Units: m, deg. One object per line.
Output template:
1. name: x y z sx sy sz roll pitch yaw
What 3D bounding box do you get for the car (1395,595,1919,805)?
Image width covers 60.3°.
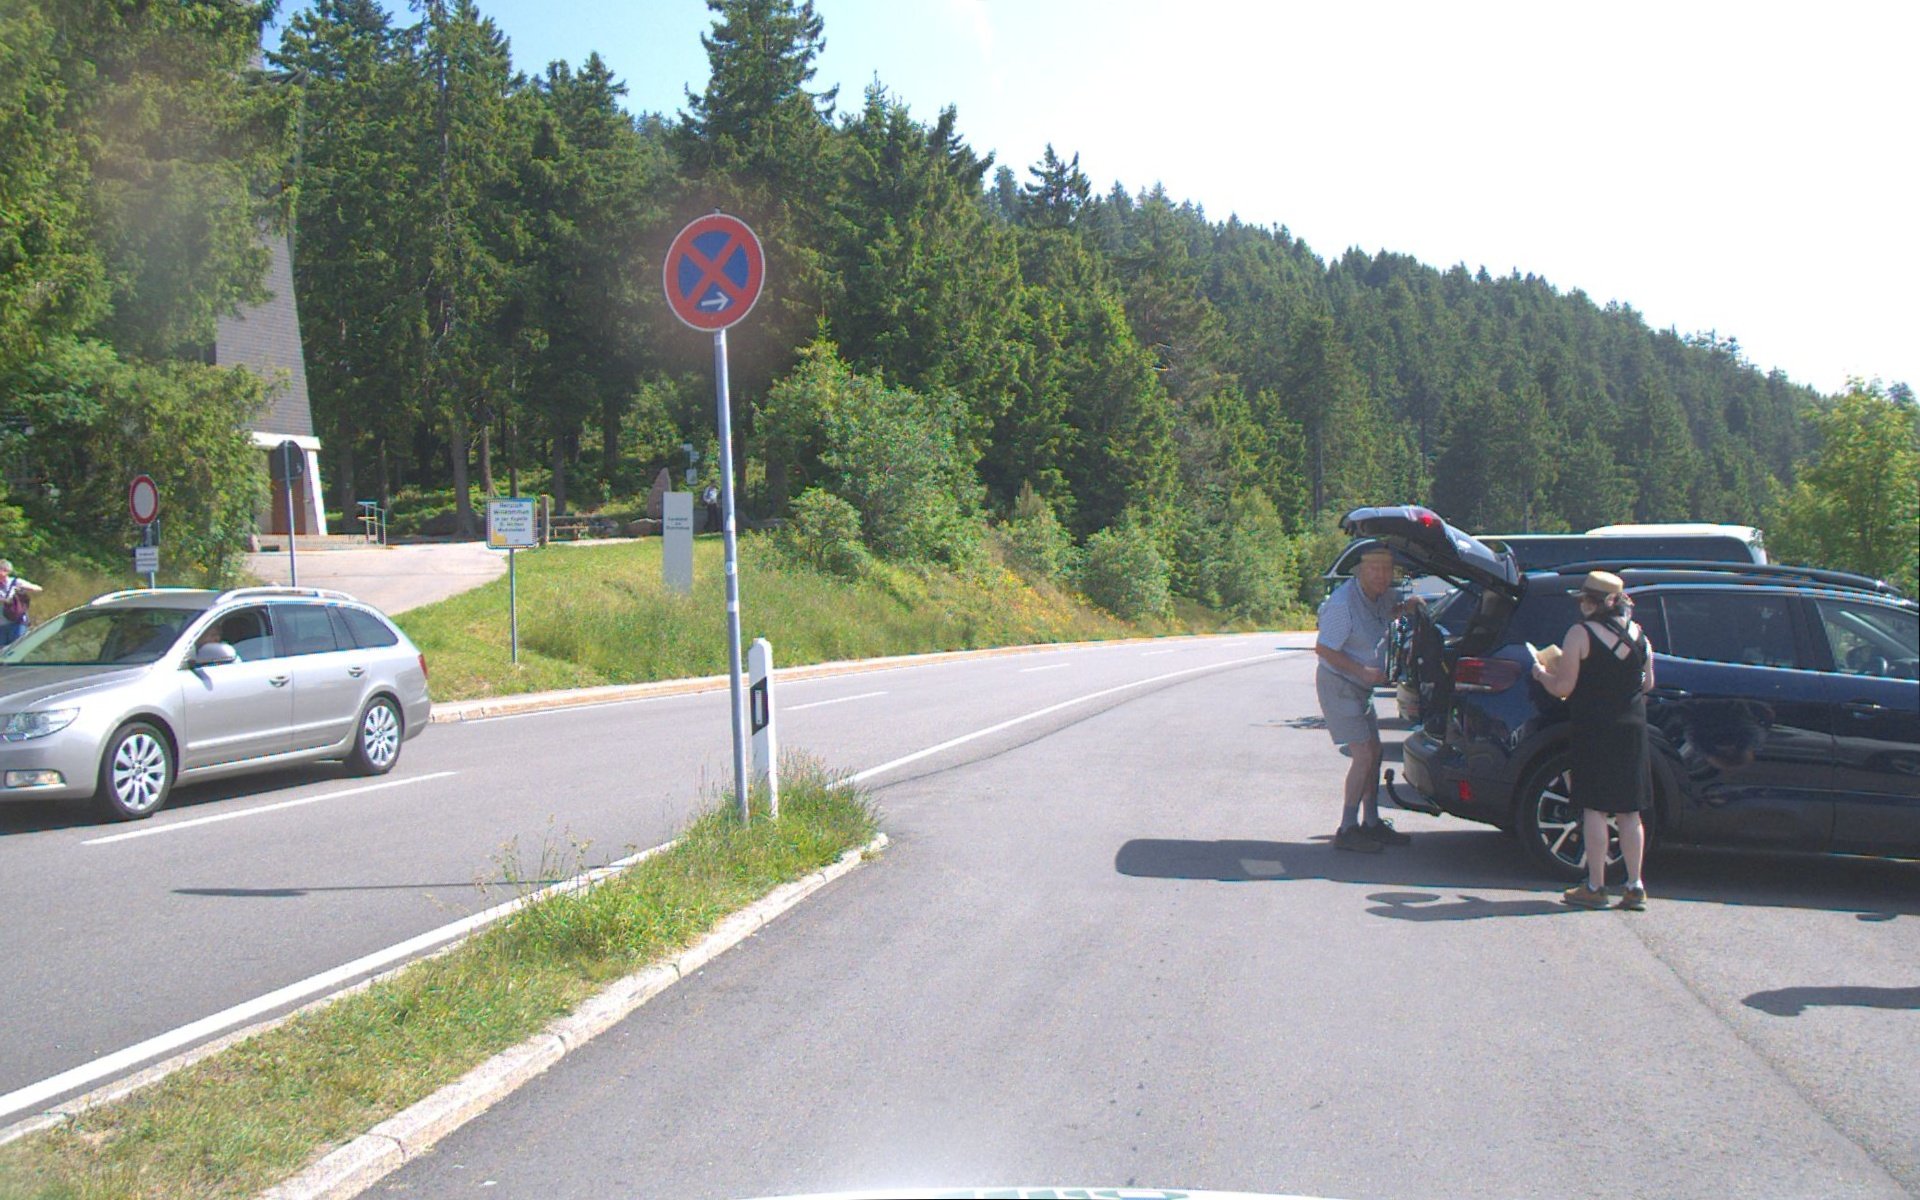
1. car: 5.549 0.717 12.759 3.995 1.400 1.703 2 0 6

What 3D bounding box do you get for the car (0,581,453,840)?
1. car: -5.761 0.631 12.089 1.839 1.500 4.718 0 0 13

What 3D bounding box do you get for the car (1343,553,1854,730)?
1. car: 6.676 0.424 17.767 4.844 1.725 1.946 -1 0 17

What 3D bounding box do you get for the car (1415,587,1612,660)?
1. car: 11.921 0.509 35.870 3.902 1.474 1.862 -1 0 15

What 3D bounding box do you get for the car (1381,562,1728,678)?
1. car: 9.192 0.319 26.010 4.927 1.680 2.049 -1 0 15

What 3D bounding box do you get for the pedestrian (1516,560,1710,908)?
1. pedestrian: 3.190 0.639 8.111 0.700 1.641 0.536 1 -1 -5

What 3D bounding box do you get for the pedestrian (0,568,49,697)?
1. pedestrian: -12.863 0.434 22.315 0.704 1.710 0.683 -2 0 7

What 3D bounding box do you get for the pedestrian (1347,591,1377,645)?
1. pedestrian: 12.150 0.542 49.996 0.754 1.613 0.772 -1 0 22

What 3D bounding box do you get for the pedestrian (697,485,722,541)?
1. pedestrian: -8.665 -2.998 57.122 0.537 1.910 0.672 -1 0 -42

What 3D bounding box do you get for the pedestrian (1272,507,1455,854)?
1. pedestrian: 2.333 0.419 9.576 0.752 1.903 0.725 -2 3 -45

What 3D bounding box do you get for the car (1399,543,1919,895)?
1. car: 4.757 0.641 9.216 4.252 1.654 1.871 3 0 10

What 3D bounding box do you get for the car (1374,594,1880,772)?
1. car: 5.955 0.701 15.198 3.994 1.400 1.704 2 0 9

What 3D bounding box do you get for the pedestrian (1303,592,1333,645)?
1. pedestrian: 10.968 0.567 50.626 0.754 1.613 0.772 -1 0 22

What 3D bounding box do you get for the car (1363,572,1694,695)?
1. car: 7.770 0.463 22.950 4.153 1.581 1.839 -1 0 15

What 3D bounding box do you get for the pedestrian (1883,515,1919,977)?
1. pedestrian: 4.214 0.584 6.473 0.734 1.831 0.732 1 -1 -17

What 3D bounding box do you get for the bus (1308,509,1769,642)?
1. bus: 17.308 -0.620 50.118 12.834 3.594 3.041 -1 0 26

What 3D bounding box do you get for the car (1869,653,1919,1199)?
1. car: 4.522 0.887 3.531 4.315 1.318 1.753 2 1 -8
